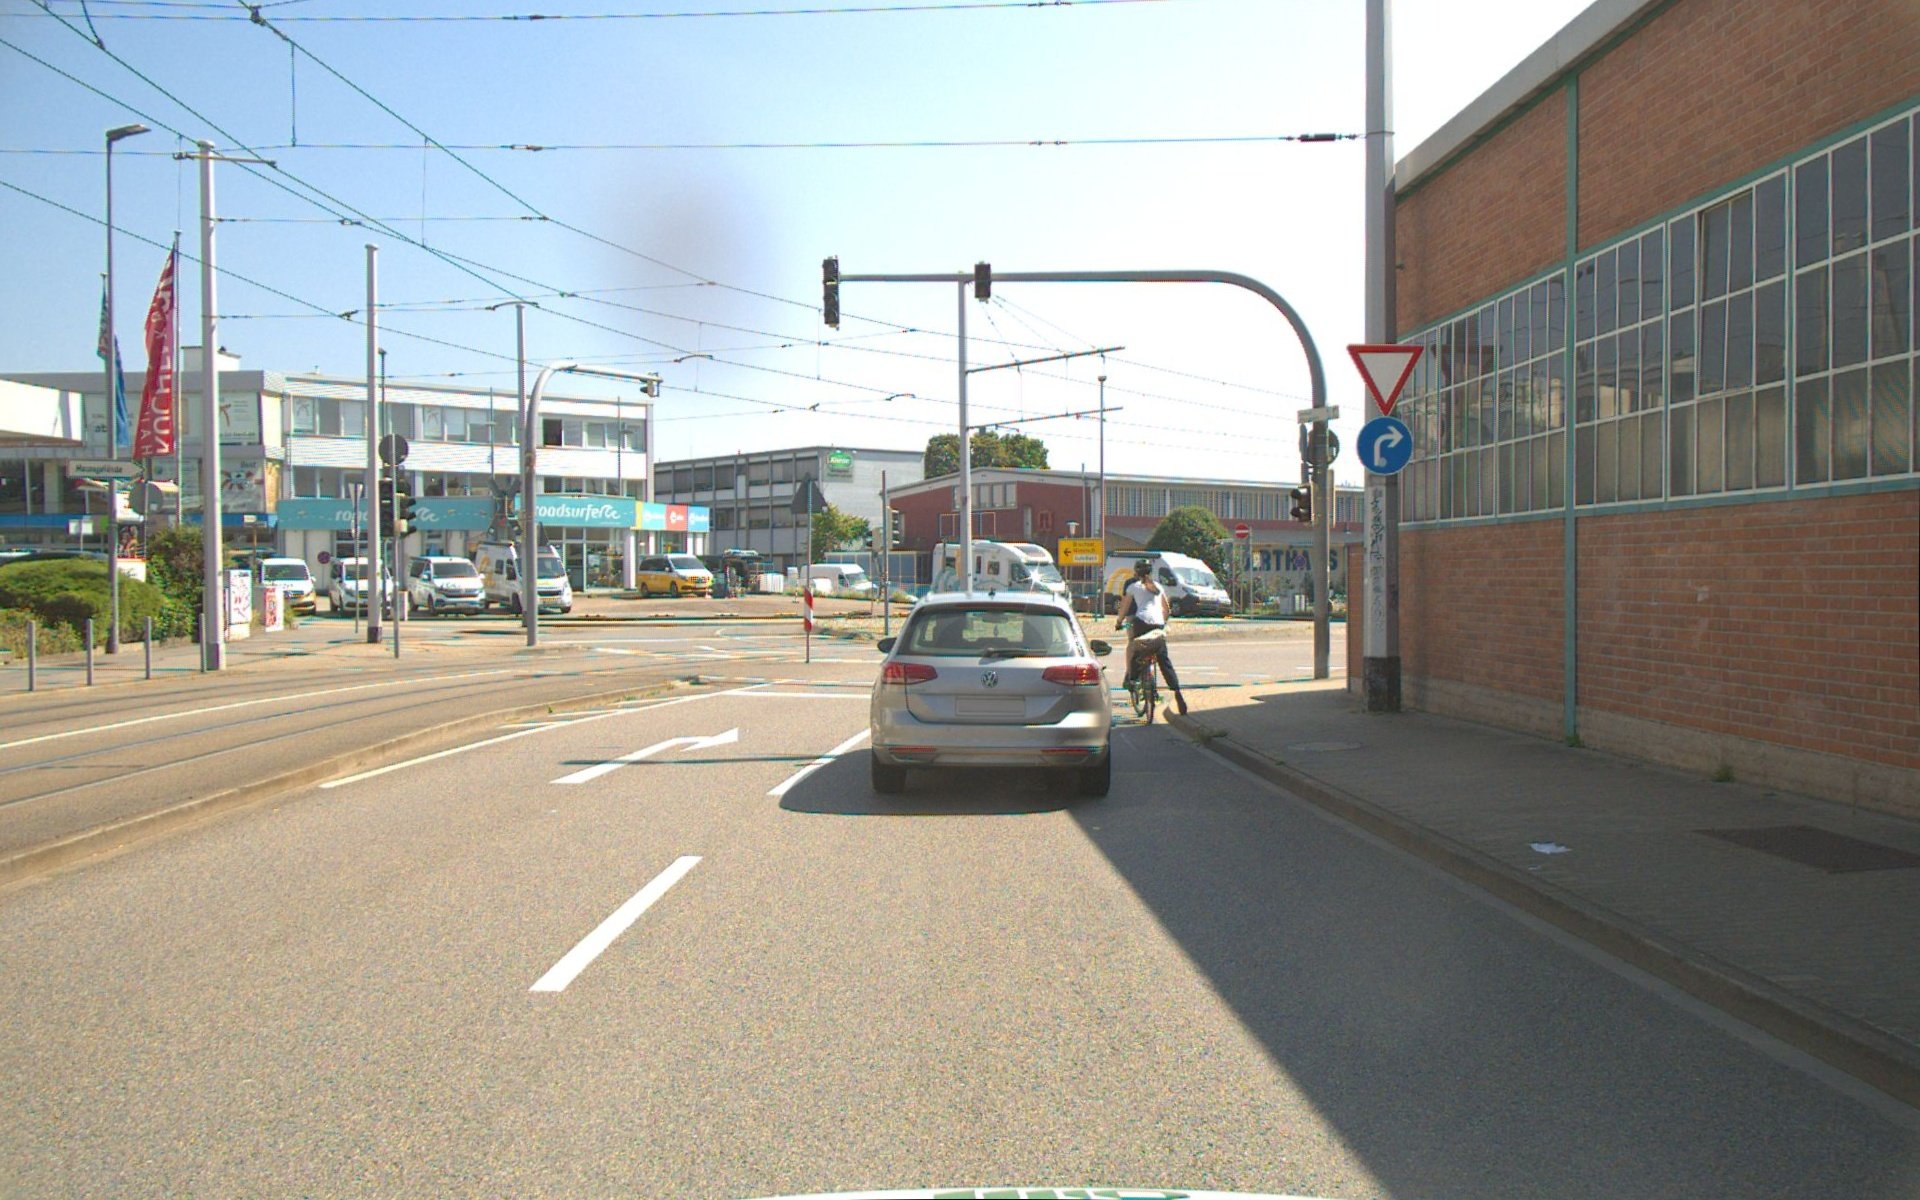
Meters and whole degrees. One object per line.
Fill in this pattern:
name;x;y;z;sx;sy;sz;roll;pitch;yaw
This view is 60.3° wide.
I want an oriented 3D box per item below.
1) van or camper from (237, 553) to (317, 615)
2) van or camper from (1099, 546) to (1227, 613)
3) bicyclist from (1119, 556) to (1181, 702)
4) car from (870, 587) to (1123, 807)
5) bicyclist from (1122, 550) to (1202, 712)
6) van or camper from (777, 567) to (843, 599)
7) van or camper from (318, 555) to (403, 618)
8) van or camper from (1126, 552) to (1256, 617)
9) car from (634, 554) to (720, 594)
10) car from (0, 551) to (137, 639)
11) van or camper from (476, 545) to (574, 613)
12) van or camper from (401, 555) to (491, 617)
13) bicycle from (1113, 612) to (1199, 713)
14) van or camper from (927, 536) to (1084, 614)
van or camper;-24.788;-0.620;59.949;1.974;2.048;4.712;-1;3;-32
van or camper;8.487;-0.906;69.580;2.266;2.482;5.315;-2;5;-38
bicyclist;2.444;0.362;21.352;0.693;1.842;0.983;0;0;0
car;0.277;0.647;13.250;1.710;1.484;4.001;0;1;1
bicyclist;2.251;0.329;18.527;0.769;1.752;1.147;0;0;1
van or camper;-9.311;-1.071;102.732;3.929;1.982;1.988;1;1;42
van or camper;-21.788;-0.529;60.033;1.974;2.048;4.712;-1;3;-32
van or camper;10.189;-0.741;73.454;2.266;2.656;5.813;-2;4;-38
car;-13.058;-1.180;76.095;1.922;1.790;5.059;0;1;-35
car;-17.939;-0.121;31.077;3.905;1.545;2.001;0;3;0
van or camper;-16.411;-0.852;62.198;2.011;2.336;5.751;-1;3;-32
van or camper;-18.929;-0.551;60.765;1.974;2.048;4.957;-1;3;-32
bicycle;2.192;0.674;18.714;0.778;1.039;2.151;0;1;2
van or camper;1.813;-1.126;68.386;2.336;2.981;6.875;-2;4;-44
